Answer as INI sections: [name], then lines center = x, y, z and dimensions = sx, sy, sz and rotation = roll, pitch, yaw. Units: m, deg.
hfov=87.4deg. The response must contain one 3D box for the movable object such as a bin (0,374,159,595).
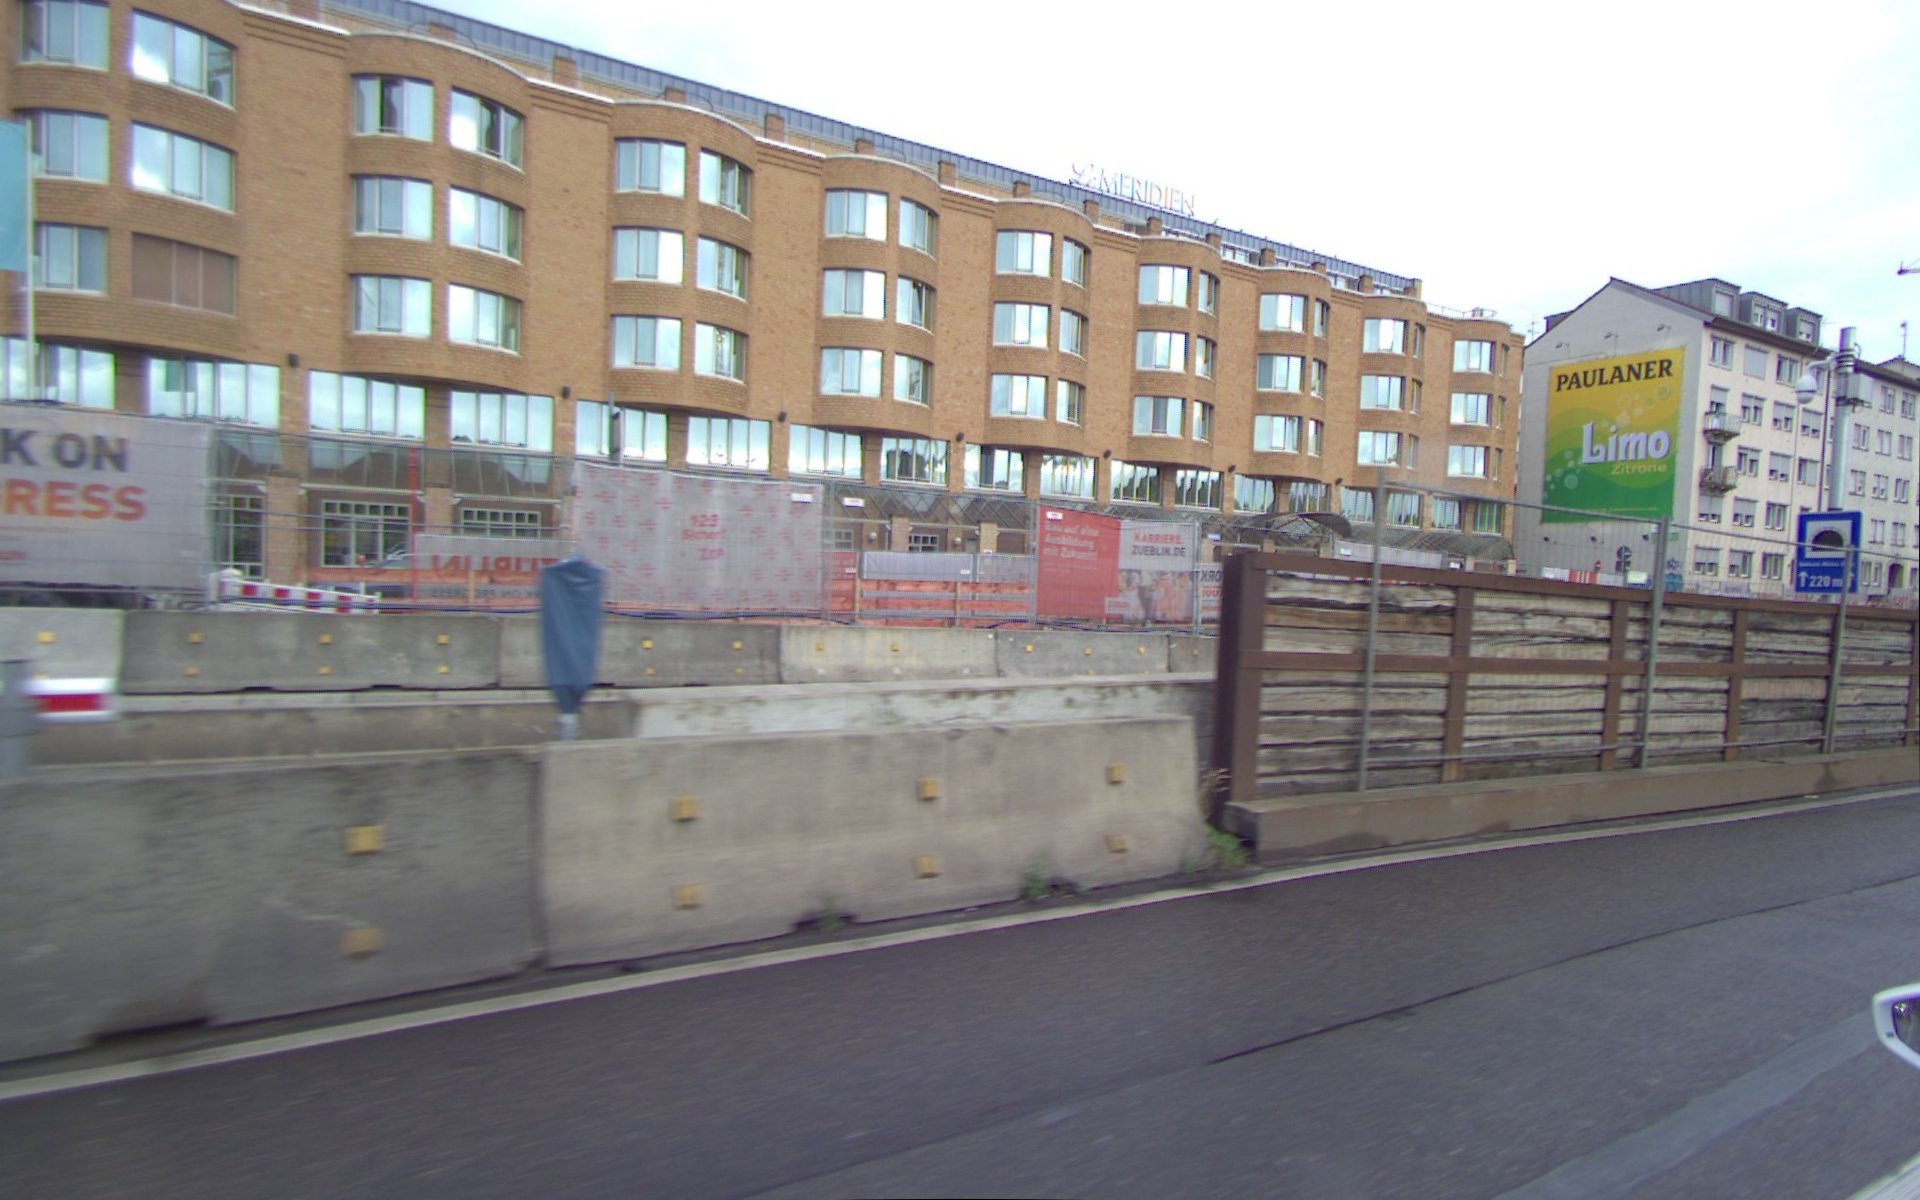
[movable object such as a bin]
center = -11.689, -1.256, 11.038
dimensions = 4.244, 2.308, 2.016
rotation = 0, -1, -31
